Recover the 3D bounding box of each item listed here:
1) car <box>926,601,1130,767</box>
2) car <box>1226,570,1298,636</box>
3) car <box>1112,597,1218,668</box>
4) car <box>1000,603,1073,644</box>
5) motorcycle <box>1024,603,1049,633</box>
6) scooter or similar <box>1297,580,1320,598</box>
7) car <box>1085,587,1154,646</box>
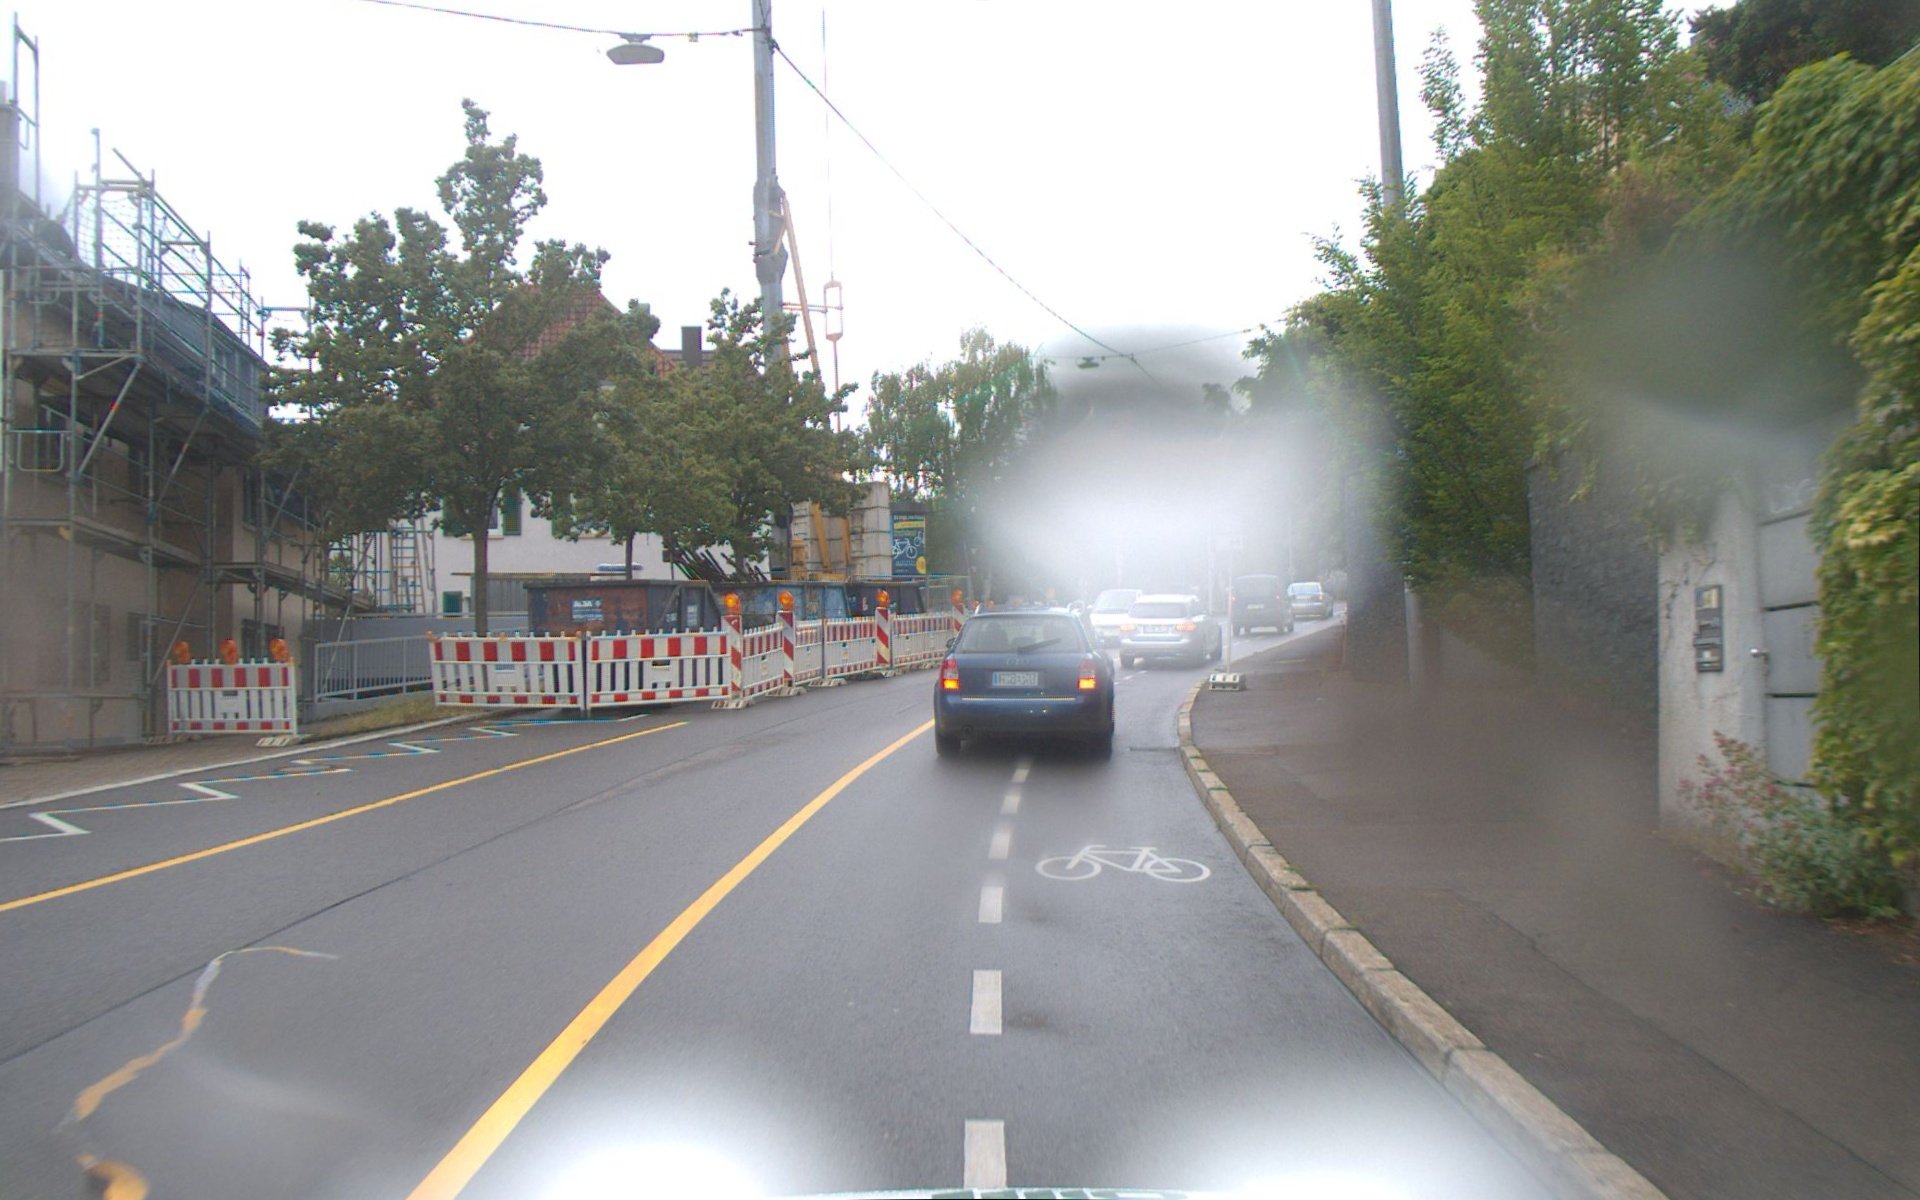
[{"bbox_3d":[0.811,0.753,16.895,1.739,1.464,4.003,0,0,7],"label":"car"},{"bbox_3d":[9.610,0.068,52.474,1.694,1.927,4.058,-4,0,17],"label":"car"},{"bbox_3d":[4.454,0.673,35.372,1.868,1.413,4.354,0,0,12],"label":"car"},{"bbox_3d":[3.457,1.104,75.662,1.662,1.535,3.981,-5,-2,-24],"label":"car"},{"bbox_3d":[3.182,0.737,68.545,0.578,1.150,1.845,-4,0,16],"label":"motorcycle"},{"bbox_3d":[29.479,-0.929,139.968,1.795,1.338,0.600,2,-3,6],"label":"scooter or similar"},{"bbox_3d":[4.397,0.437,45.359,1.425,1.553,2.925,0,0,15],"label":"car"}]
